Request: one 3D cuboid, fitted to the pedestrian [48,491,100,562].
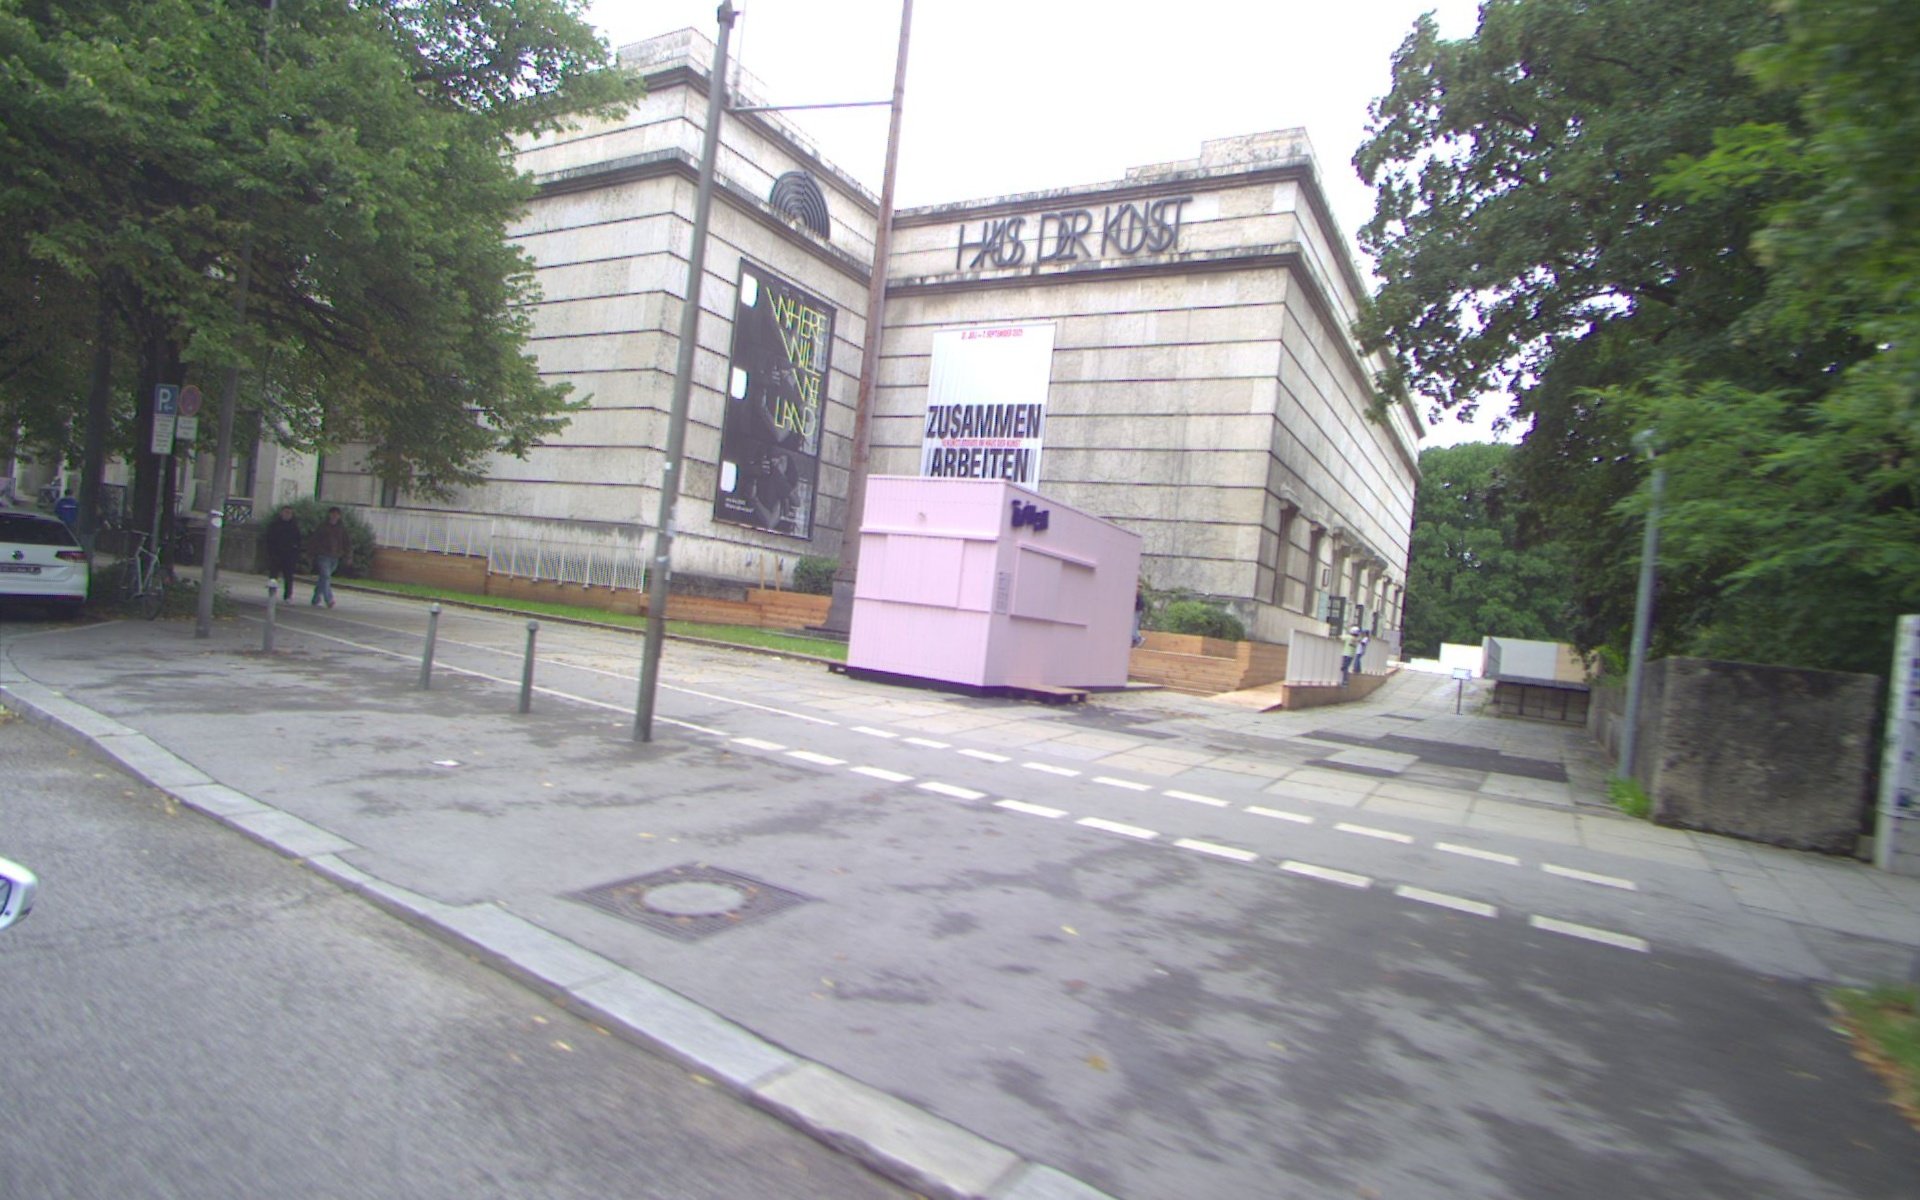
[{"bbox_3d":[-25.951,-2.148,29.484,0.758,1.932,0.780,6,-1,31],"label":"pedestrian"}]

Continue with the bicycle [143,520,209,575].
[{"bbox_3d":[-23.316,-1.577,29.915,2.260,1.433,0.700,6,0,31],"label":"bicycle"}]

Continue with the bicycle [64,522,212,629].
[{"bbox_3d":[-11.720,-0.366,14.312,2.574,1.245,0.630,6,-1,29],"label":"bicycle"}]

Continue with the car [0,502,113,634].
[{"bbox_3d":[-13.579,-0.601,13.598,4.673,1.569,1.829,6,0,32],"label":"car"}]

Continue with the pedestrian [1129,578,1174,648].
[{"bbox_3d":[4.605,0.314,24.182,0.758,1.576,0.488,6,-1,32],"label":"pedestrian"}]

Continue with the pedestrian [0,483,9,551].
[{"bbox_3d":[-28.008,-2.441,28.815,0.758,1.932,0.780,6,-1,31],"label":"pedestrian"}]

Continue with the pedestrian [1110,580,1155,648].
[{"bbox_3d":[4.052,0.328,23.669,0.758,1.511,0.488,6,-1,32],"label":"pedestrian"}]

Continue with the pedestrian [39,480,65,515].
[{"bbox_3d":[-39.225,-4.436,43.448,0.635,1.389,0.567,6,-1,32],"label":"pedestrian"}]

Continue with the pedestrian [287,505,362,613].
[{"bbox_3d":[-12.167,-0.776,19.279,0.758,1.932,0.765,6,-1,31],"label":"pedestrian"}]

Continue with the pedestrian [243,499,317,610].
[{"bbox_3d":[-12.581,-0.840,18.611,0.758,1.932,0.700,6,-1,31],"label":"pedestrian"}]
